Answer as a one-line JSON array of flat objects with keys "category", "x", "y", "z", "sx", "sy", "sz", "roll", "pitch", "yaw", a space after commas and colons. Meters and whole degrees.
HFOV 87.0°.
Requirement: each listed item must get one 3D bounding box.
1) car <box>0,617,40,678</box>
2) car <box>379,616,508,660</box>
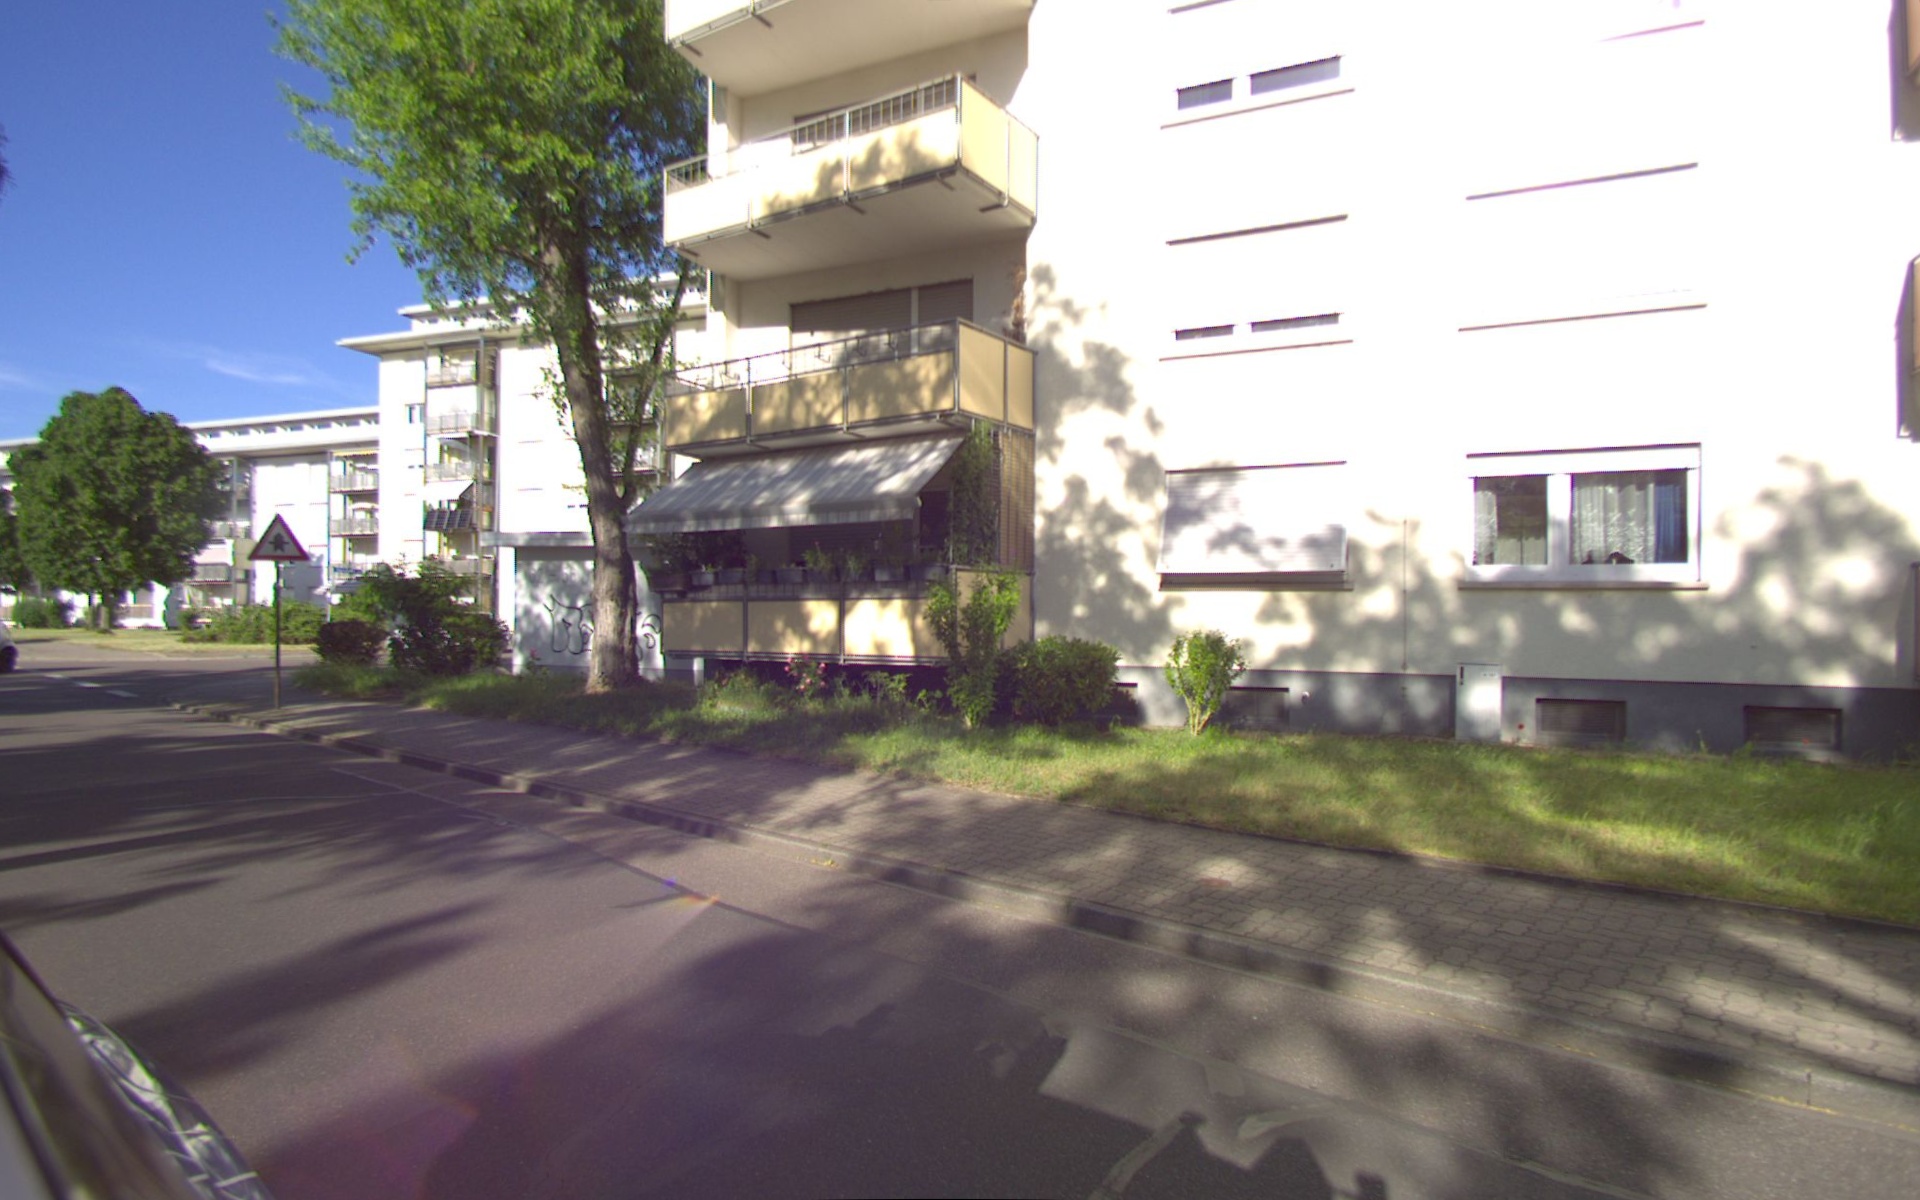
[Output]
[{"category": "car", "x": -23.390, "y": 1.025, "z": 22.726, "sx": 1.576, "sy": 1.436, "sz": 4.169, "roll": 2, "pitch": -3, "yaw": 0}, {"category": "car", "x": -17.729, "y": 1.279, "z": 34.838, "sx": 3.673, "sy": 1.436, "sz": 1.535, "roll": 1, "pitch": -2, "yaw": -42}]
